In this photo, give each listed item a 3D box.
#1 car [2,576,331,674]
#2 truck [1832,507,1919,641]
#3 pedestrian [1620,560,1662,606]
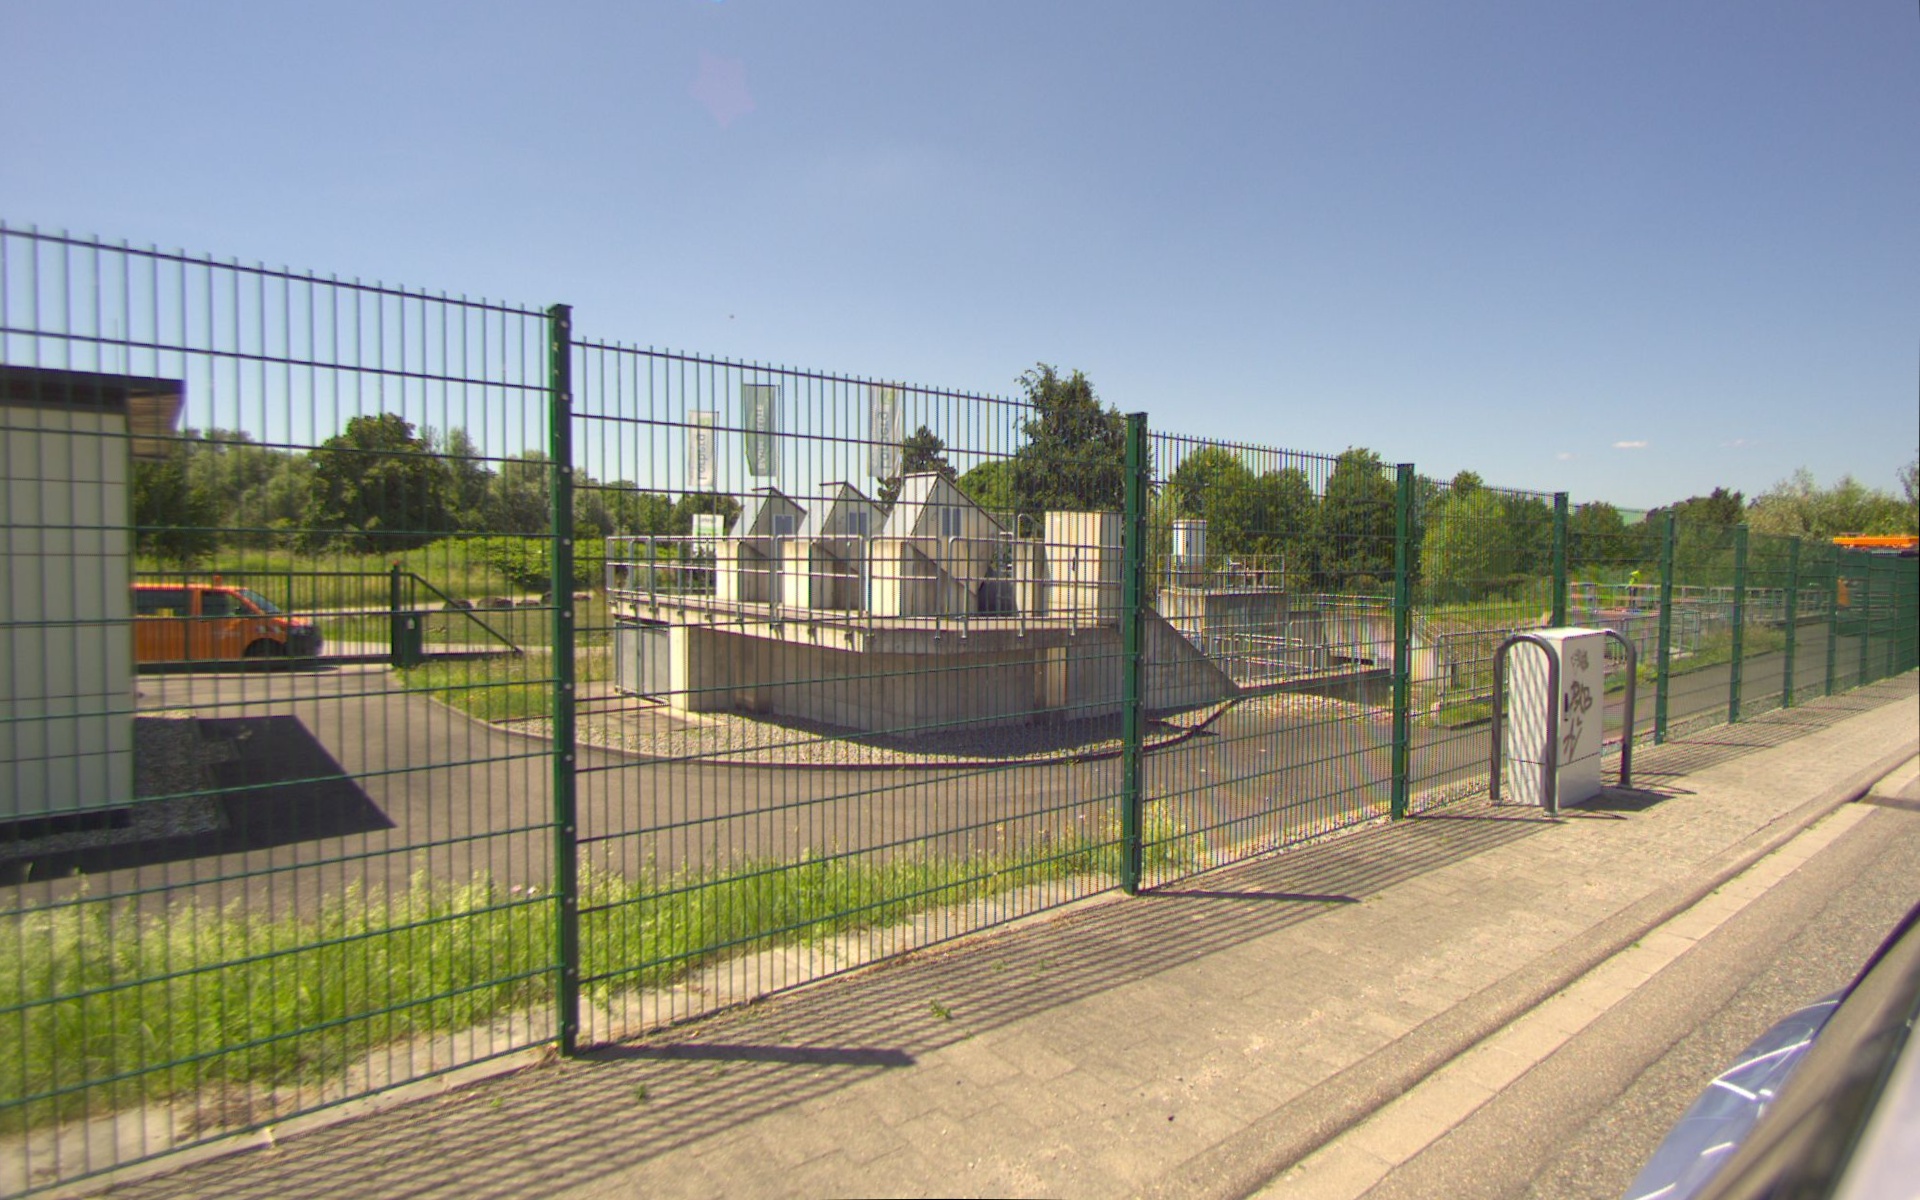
[{"bbox_3d":[-17.554,0.504,22.782,5.458,2.039,2.004,0,0,-20],"label":"car"},{"bbox_3d":[33.022,-0.864,35.539,7.996,4.249,2.843,0,1,-43],"label":"truck"},{"bbox_3d":[30.373,-0.748,45.154,1.195,2.039,1.304,0,0,-41],"label":"pedestrian"}]
